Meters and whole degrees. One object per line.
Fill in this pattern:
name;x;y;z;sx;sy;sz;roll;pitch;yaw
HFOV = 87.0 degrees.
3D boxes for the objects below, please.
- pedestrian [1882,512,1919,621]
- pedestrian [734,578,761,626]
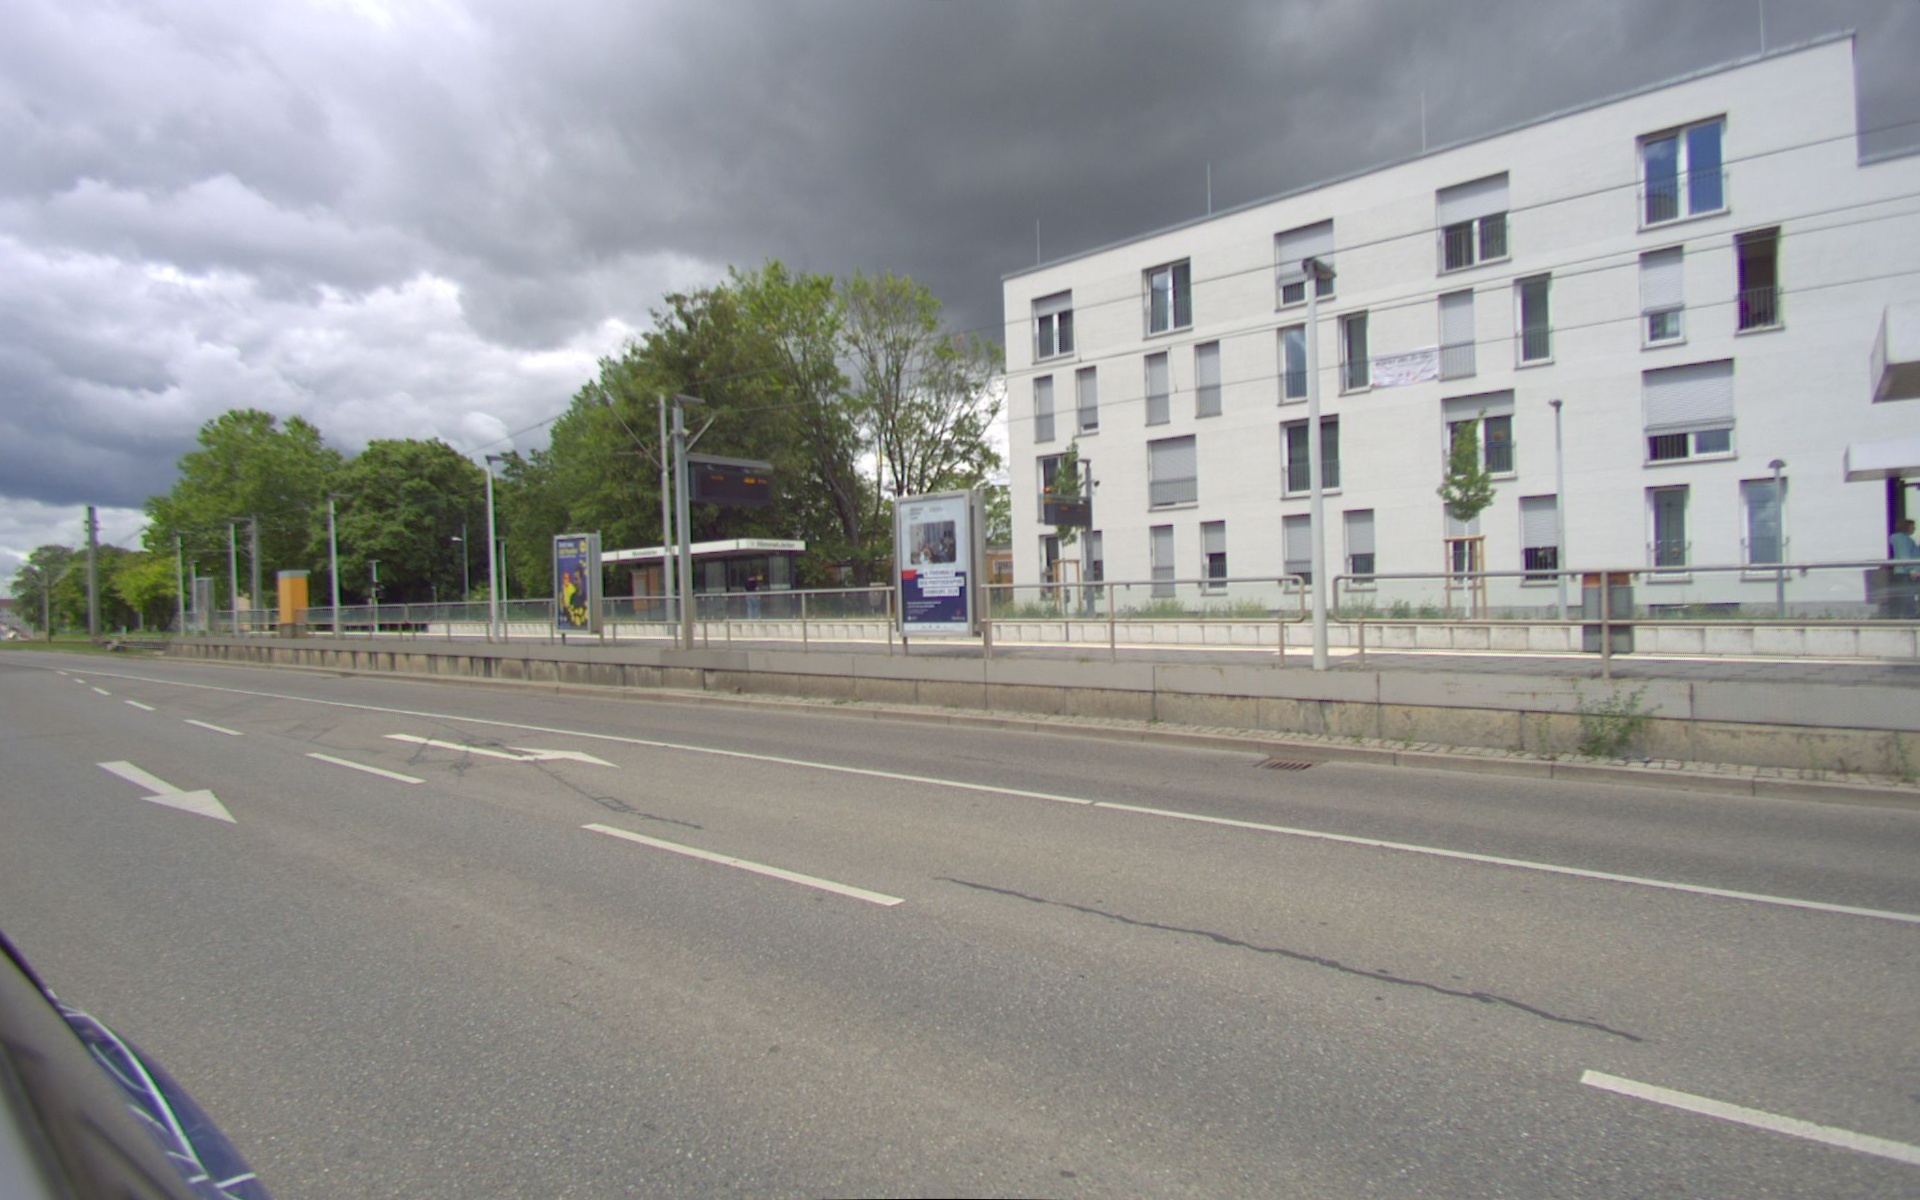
pedestrian;14.399;-0.499;15.155;0.481;1.608;0.679;-2;0;-7
pedestrian;-7.029;0.056;33.539;0.733;1.542;0.547;-2;0;1
